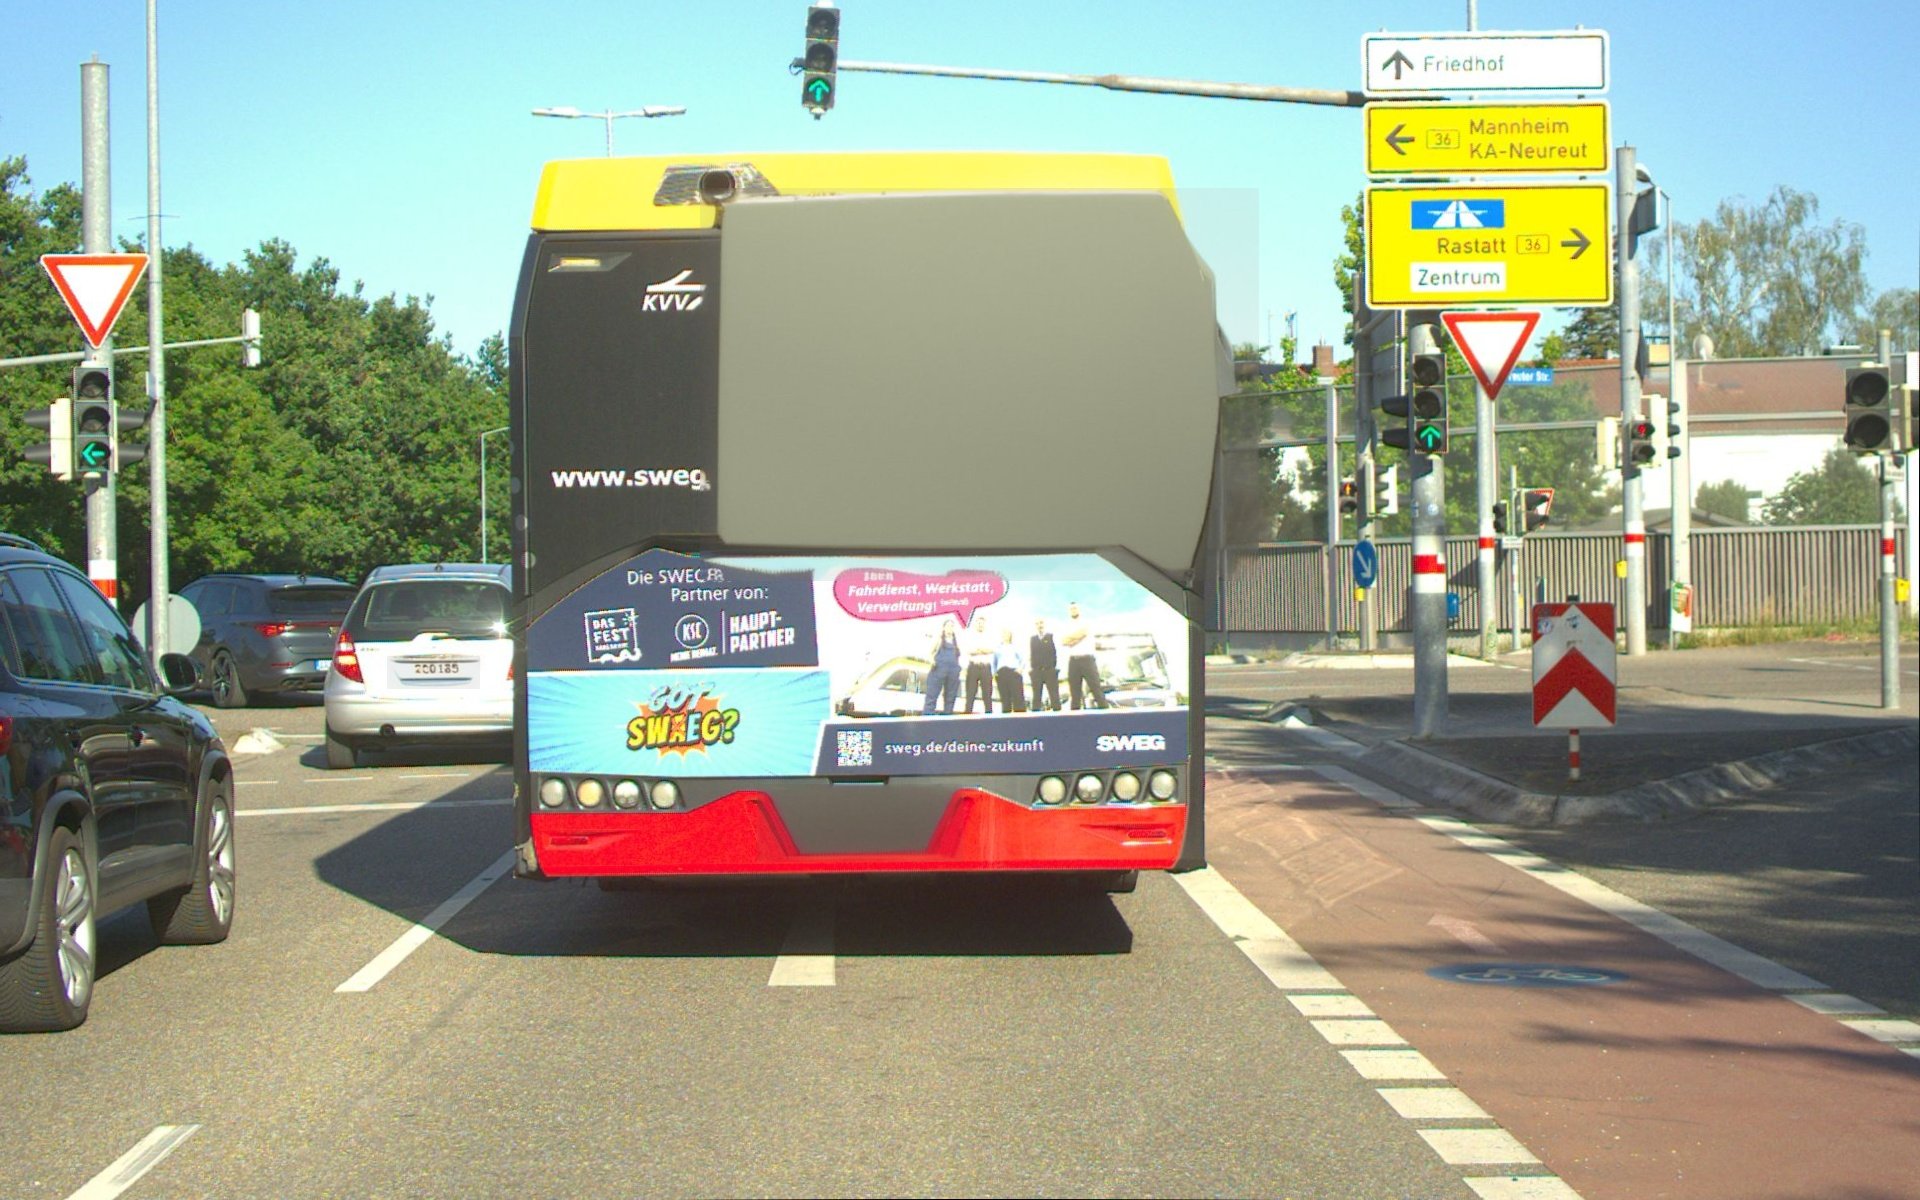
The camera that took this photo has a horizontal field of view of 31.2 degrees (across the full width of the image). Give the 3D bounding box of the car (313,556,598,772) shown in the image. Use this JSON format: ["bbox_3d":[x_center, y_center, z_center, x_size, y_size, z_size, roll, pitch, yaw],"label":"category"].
[{"bbox_3d":[-4.043,0.469,28.122,1.761,1.584,4.000,-2,1,-1],"label":"car"}]

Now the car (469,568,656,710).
[{"bbox_3d":[-4.402,0.395,38.526,1.692,1.453,3.751,-2,1,-1],"label":"car"}]

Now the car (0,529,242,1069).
[{"bbox_3d":[-3.867,0.624,12.463,1.772,1.648,4.000,-2,0,-2],"label":"car"}]

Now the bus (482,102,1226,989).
[{"bbox_3d":[-0.406,-0.280,18.225,2.642,3.156,11.861,0,1,0],"label":"bus"}]
